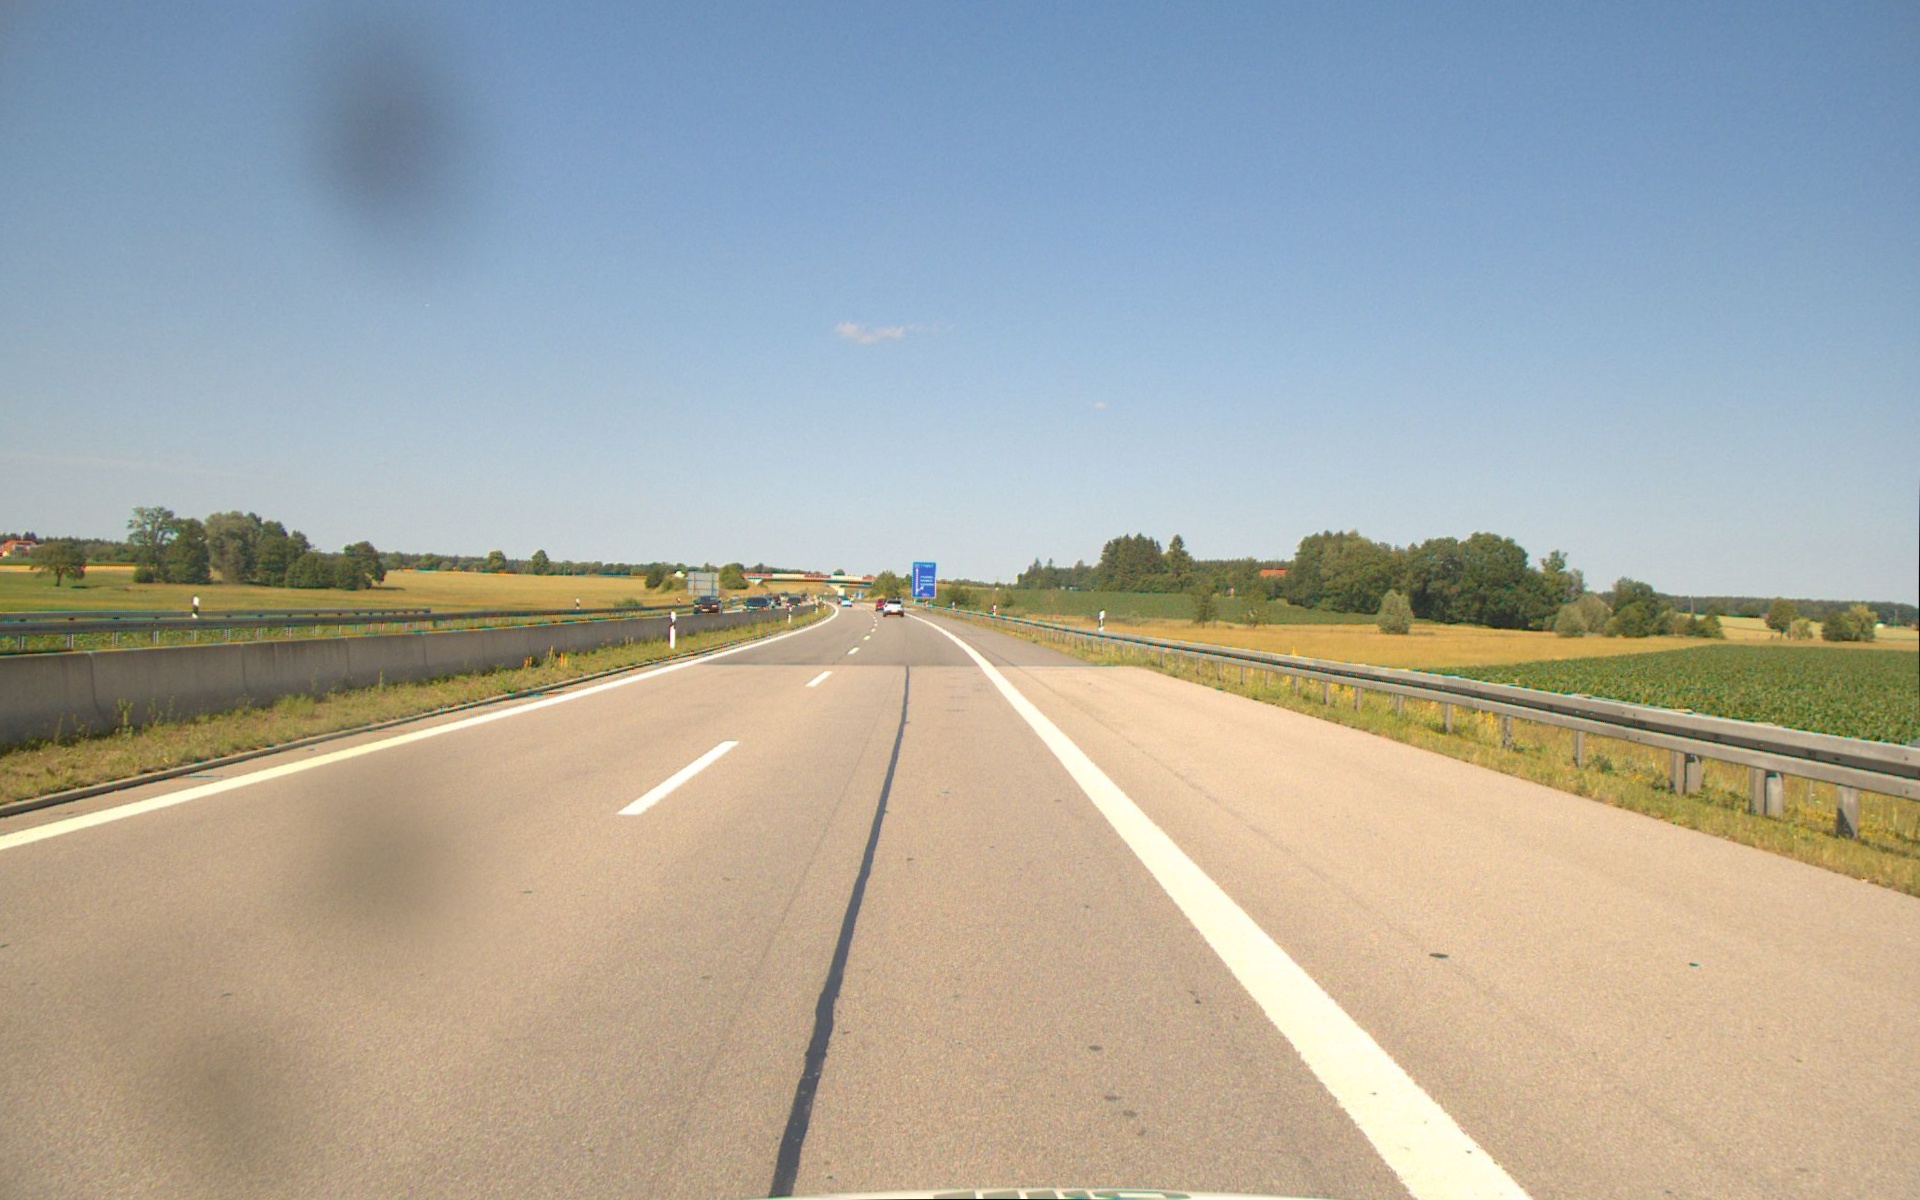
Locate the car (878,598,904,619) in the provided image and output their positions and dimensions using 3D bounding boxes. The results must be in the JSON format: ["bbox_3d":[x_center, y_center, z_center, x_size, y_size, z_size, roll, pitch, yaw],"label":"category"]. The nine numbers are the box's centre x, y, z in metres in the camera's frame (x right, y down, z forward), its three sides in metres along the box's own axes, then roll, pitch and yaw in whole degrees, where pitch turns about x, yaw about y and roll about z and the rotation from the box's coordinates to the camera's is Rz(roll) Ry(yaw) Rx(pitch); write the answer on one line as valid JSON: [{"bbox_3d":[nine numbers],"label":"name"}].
[{"bbox_3d":[-6.199,0.732,148.487,1.956,1.761,4.861,1,0,-7],"label":"car"}]

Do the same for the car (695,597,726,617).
[{"bbox_3d":[-18.291,0.504,121.495,1.786,1.388,4.661,0,0,-3],"label":"car"}]

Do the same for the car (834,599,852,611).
[{"bbox_3d":[-18.248,0.728,258.458,1.959,1.761,4.852,1,0,-13],"label":"car"}]

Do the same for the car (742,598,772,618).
[{"bbox_3d":[-14.804,0.586,120.647,1.786,1.388,5.195,0,0,-3],"label":"car"}]

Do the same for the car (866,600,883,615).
[{"bbox_3d":[-10.301,0.928,198.776,1.954,1.761,4.865,1,0,-4],"label":"car"}]

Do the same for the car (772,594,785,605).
[{"bbox_3d":[-27.450,-0.146,250.056,1.822,1.612,4.909,0,0,-5],"label":"car"}]

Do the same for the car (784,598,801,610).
[{"bbox_3d":[-19.627,0.430,193.672,1.787,1.388,4.656,0,0,-4],"label":"car"}]
